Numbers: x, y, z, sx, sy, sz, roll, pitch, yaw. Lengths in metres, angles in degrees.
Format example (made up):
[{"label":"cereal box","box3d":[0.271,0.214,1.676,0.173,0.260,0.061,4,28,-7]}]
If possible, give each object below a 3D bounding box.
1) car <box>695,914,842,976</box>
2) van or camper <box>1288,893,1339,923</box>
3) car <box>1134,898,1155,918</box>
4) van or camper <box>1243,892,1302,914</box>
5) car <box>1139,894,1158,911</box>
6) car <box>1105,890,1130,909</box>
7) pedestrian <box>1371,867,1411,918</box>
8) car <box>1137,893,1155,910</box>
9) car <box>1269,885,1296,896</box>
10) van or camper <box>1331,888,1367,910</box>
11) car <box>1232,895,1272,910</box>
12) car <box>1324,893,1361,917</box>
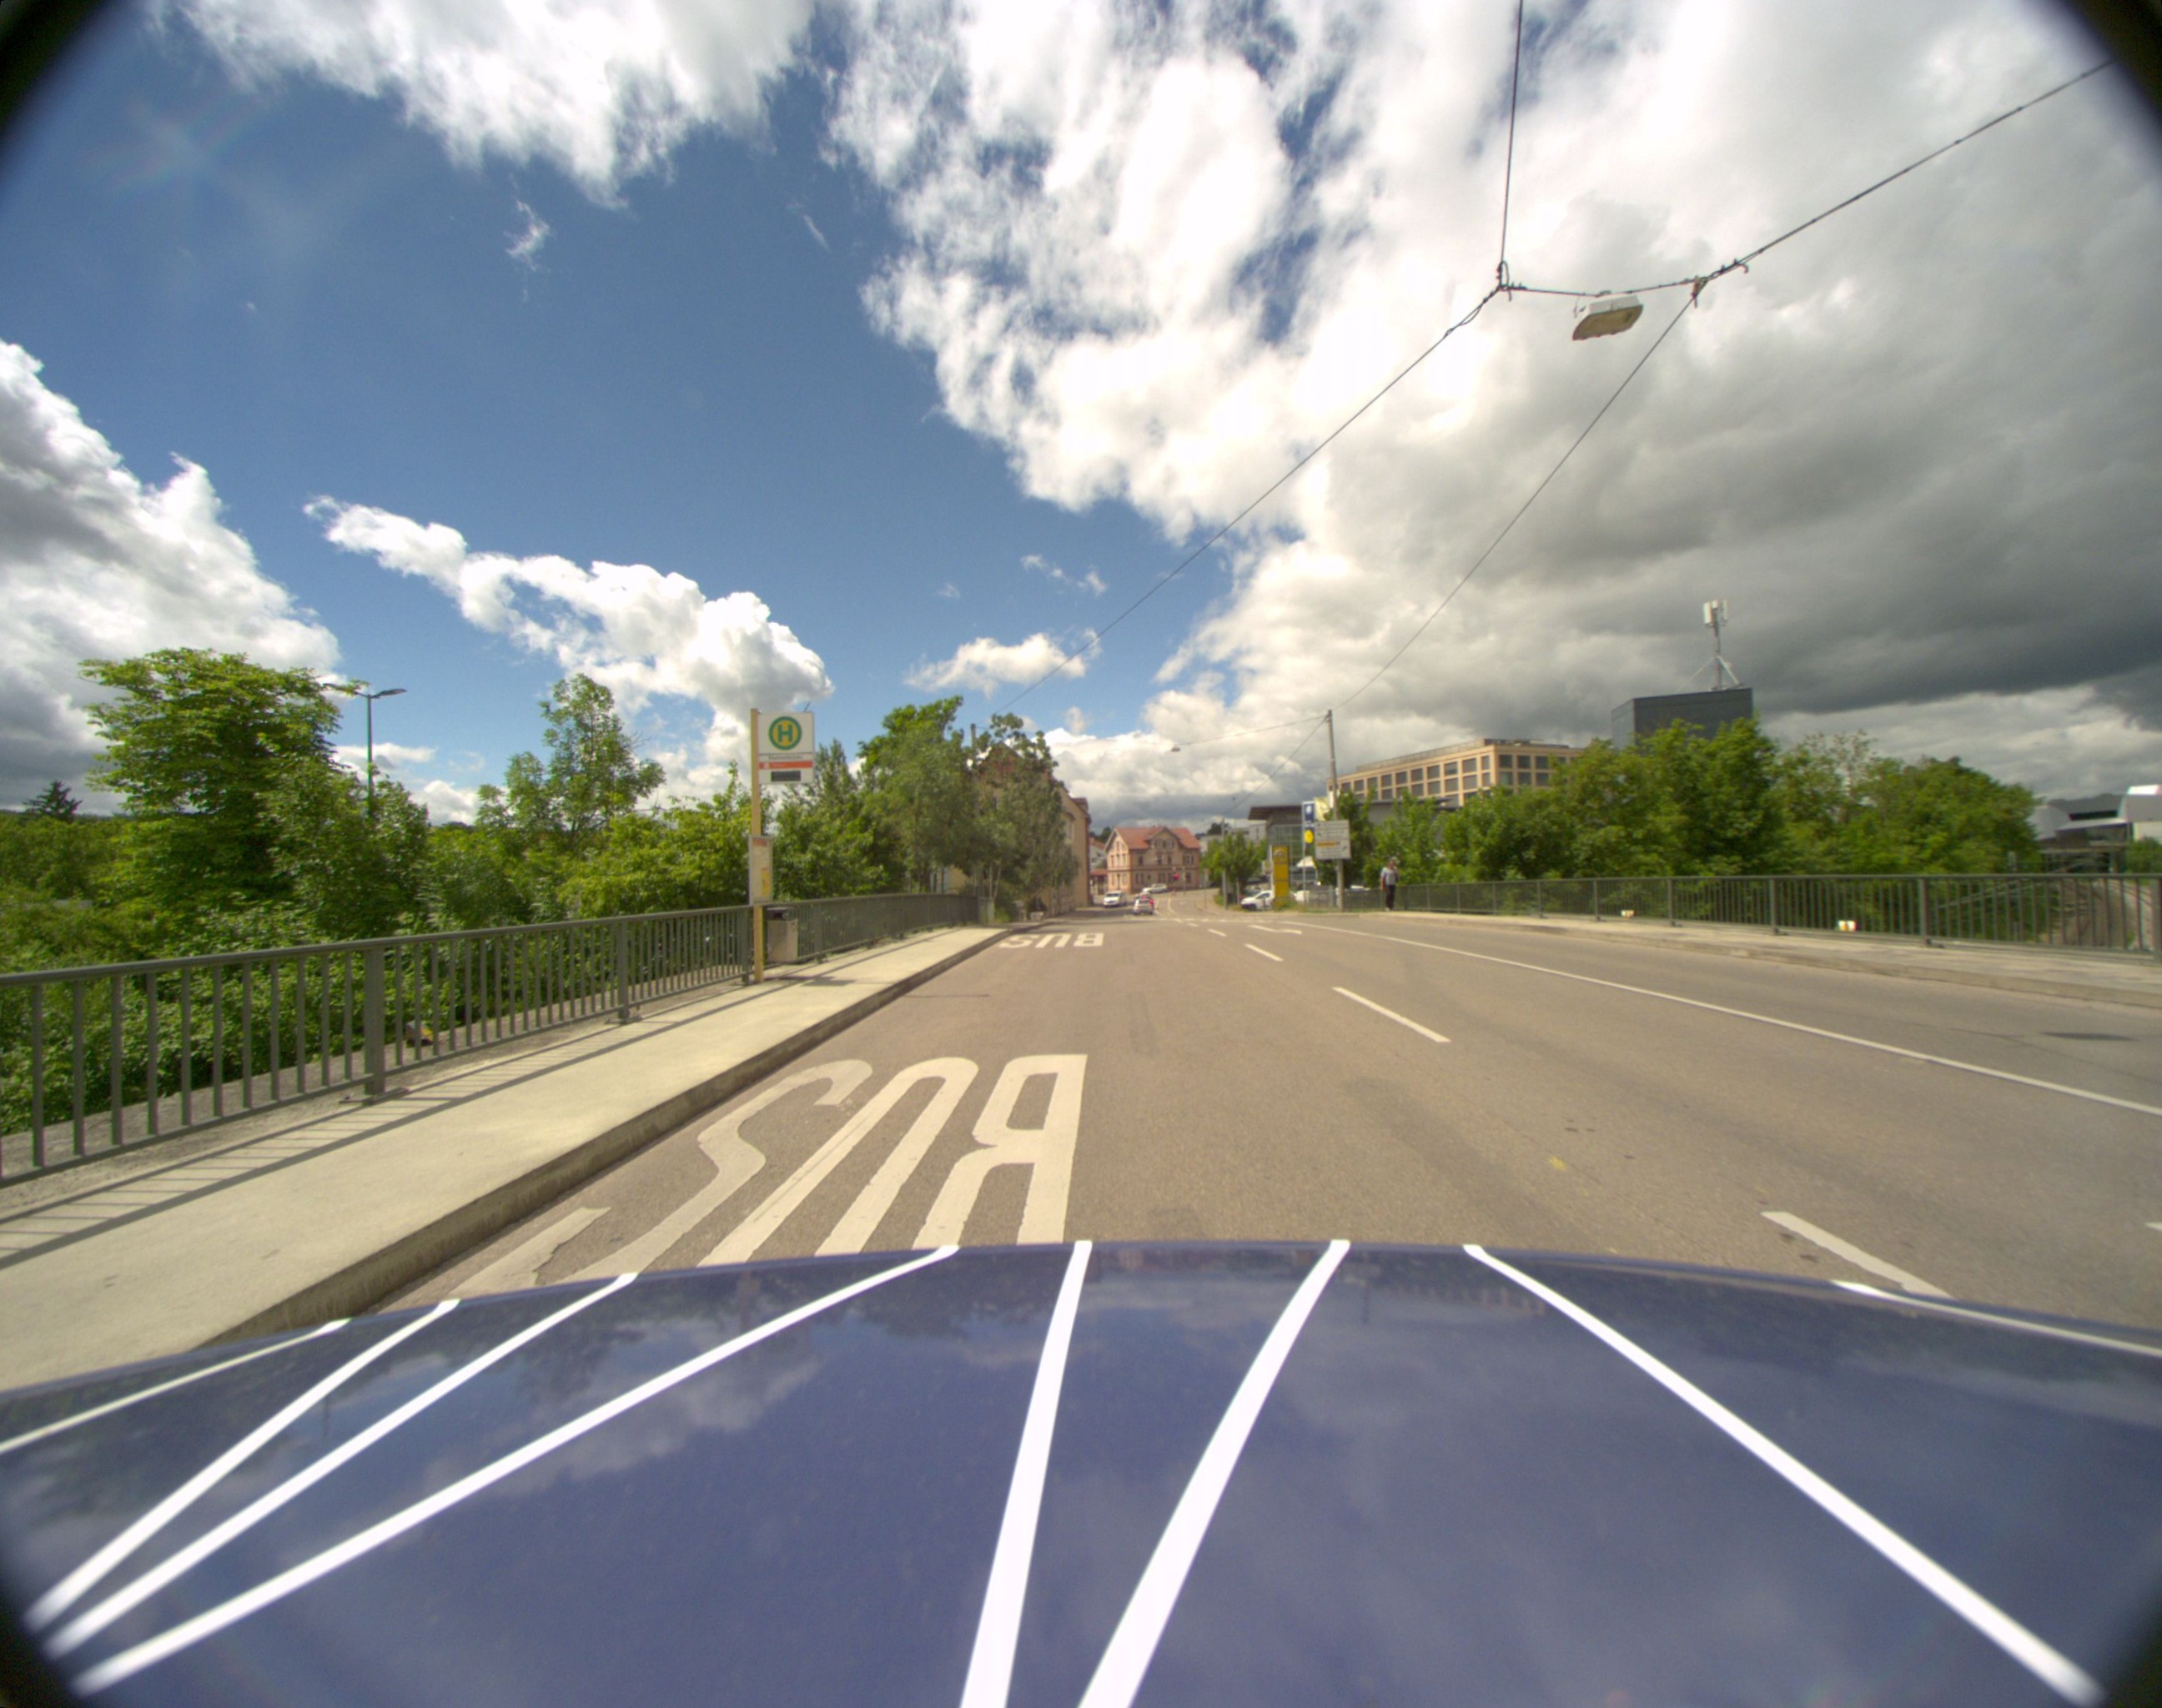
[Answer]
[{"label":"car","box3d":[-10.543,3.010,25.712,4.356,1.659,1.868,-2,-2,-29]},{"label":"van or camper","box3d":[17.109,3.908,55.800,1.985,1.951,4.970,-5,-4,36]},{"label":"car","box3d":[5.870,5.022,70.597,1.723,1.572,4.002,-4,-2,3]},{"label":"van or camper","box3d":[16.296,4.180,64.971,4.677,1.738,2.002,-2,-3,8]},{"label":"car","box3d":[7.373,5.250,82.837,1.722,1.572,4.254,-4,-2,7]},{"label":"car","box3d":[4.518,5.587,93.963,1.997,1.980,4.996,-5,-2,14]},{"label":"pedestrian","box3d":[11.590,1.461,28.452,0.998,1.825,1.038,-3,-3,3]},{"label":"car","box3d":[7.666,5.568,89.454,1.722,1.571,4.321,-6,-2,7]},{"label":"car","box3d":[25.024,4.518,94.424,3.017,1.364,1.519,-2,-3,5]},{"label":"van or camper","box3d":[25.544,4.302,72.670,1.998,2.001,4.689,-1,-3,4]},{"label":"car","box3d":[17.904,5.088,79.738,3.857,1.488,1.814,-1,-3,3]},{"label":"car","box3d":[18.158,3.513,52.740,1.814,1.457,4.008,-3,-2,27]}]
